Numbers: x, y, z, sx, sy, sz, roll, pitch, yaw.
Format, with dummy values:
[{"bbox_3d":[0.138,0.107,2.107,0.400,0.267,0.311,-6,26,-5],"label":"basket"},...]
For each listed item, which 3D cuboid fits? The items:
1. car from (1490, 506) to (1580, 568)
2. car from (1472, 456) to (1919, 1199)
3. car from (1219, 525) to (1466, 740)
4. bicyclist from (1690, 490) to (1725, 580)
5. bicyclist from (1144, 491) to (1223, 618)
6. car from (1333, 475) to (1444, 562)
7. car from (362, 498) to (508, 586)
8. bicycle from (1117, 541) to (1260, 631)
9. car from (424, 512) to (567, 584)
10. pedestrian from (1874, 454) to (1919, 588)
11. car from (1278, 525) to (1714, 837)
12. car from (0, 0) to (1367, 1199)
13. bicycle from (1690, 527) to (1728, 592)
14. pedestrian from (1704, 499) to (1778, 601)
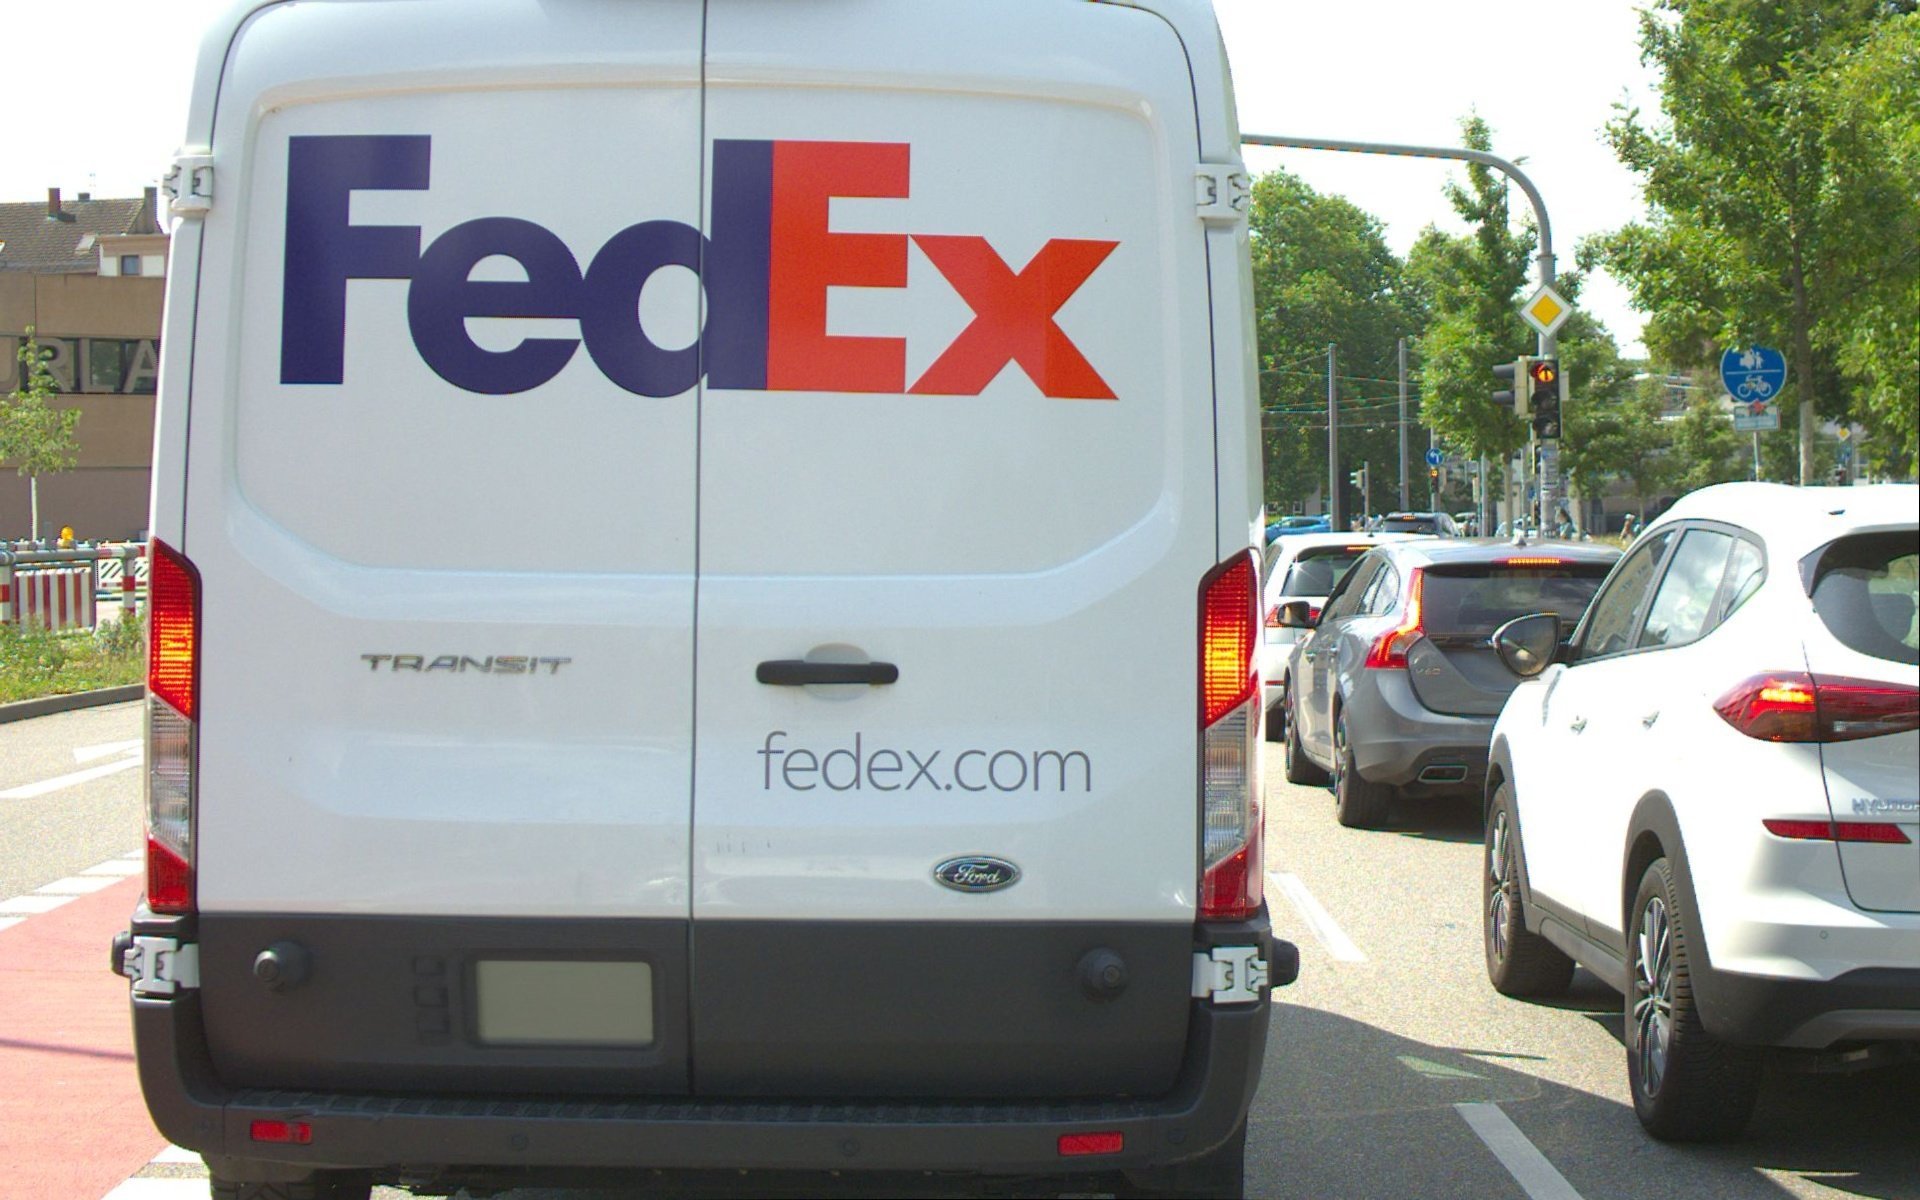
[{"bbox_3d":[17.236,-1.887,102.929,1.995,1.787,4.367,0,1,19],"label":"car"},{"bbox_3d":[2.579,0.466,9.573,1.798,1.681,4.000,0,2,1],"label":"car"},{"bbox_3d":[2.714,0.181,24.919,1.484,1.423,3.433,0,2,1],"label":"car"},{"bbox_3d":[12.264,-1.067,56.394,0.550,1.469,0.970,0,1,12],"label":"bicyclist"},{"bbox_3d":[3.293,-0.674,50.641,1.119,1.838,0.593,0,2,1],"label":"bicyclist"},{"bbox_3d":[10.289,-1.933,82.320,2.094,2.007,4.641,0,1,14],"label":"car"},{"bbox_3d":[-12.340,-1.356,81.079,1.995,2.007,3.998,0,1,14],"label":"car"},{"bbox_3d":[3.349,-0.213,50.508,2.064,1.285,0.604,0,1,1],"label":"bicycle"},{"bbox_3d":[-10.617,-1.195,78.811,1.902,1.579,3.998,0,1,14],"label":"car"},{"bbox_3d":[14.713,-1.223,53.208,0.845,2.051,0.740,-2,2,-40],"label":"pedestrian"},{"bbox_3d":[2.723,0.345,18.240,1.798,1.456,3.838,0,2,1],"label":"car"},{"bbox_3d":[-0.562,-0.110,8.215,2.140,2.643,5.705,0,1,-3],"label":"car"},{"bbox_3d":[12.274,-0.674,56.396,0.546,1.027,1.926,0,2,10],"label":"bicycle"},{"bbox_3d":[10.776,-0.695,47.477,0.845,1.384,0.741,0,1,-1],"label":"pedestrian"}]
